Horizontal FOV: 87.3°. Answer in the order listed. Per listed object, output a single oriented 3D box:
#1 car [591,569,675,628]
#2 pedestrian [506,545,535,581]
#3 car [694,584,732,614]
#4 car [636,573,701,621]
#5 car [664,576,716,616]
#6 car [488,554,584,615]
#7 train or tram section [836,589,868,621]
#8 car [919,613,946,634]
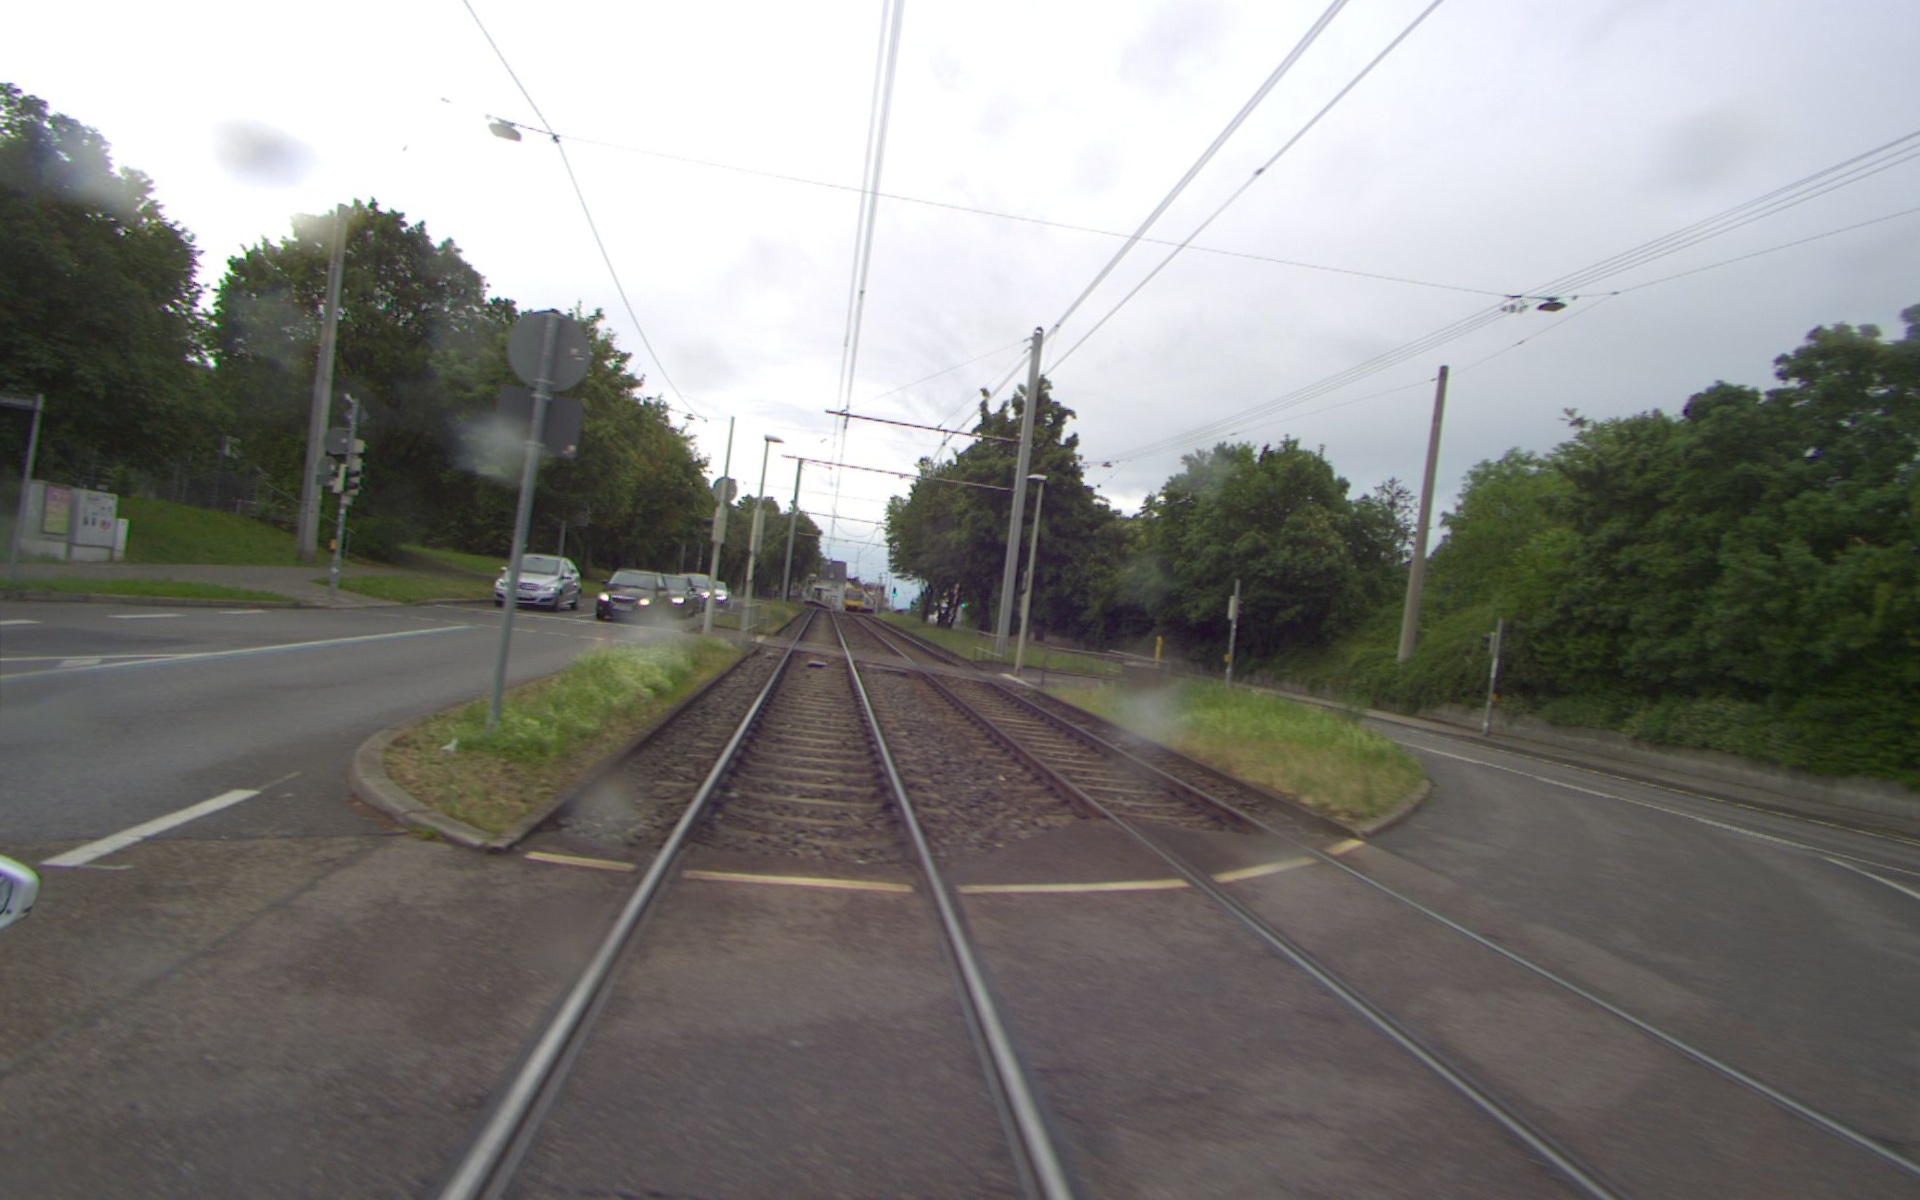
[{"bbox_3d":[-9.410,-0.034,29.224,1.579,1.418,3.786,7,-1,-9],"label":"car"},{"bbox_3d":[-21.996,-1.846,50.349,1.000,1.620,1.037,8,-1,-14],"label":"pedestrian"},{"bbox_3d":[-13.648,-0.052,55.787,1.579,1.419,3.786,6,-1,-9],"label":"car"},{"bbox_3d":[-10.263,-0.091,35.679,1.579,1.418,3.786,7,-1,-8],"label":"car"},{"bbox_3d":[-11.669,-0.161,43.657,1.580,1.418,3.786,9,-1,-8],"label":"car"},{"bbox_3d":[-12.672,-0.448,30.277,1.695,1.573,3.856,5,0,-10],"label":"car"},{"bbox_3d":[-16.205,0.861,150.173,4.005,3.938,15.028,9,-2,-7],"label":"train or tram section"},{"bbox_3d":[-2.505,2.093,89.521,1.681,1.539,3.785,9,-1,-9],"label":"car"}]
